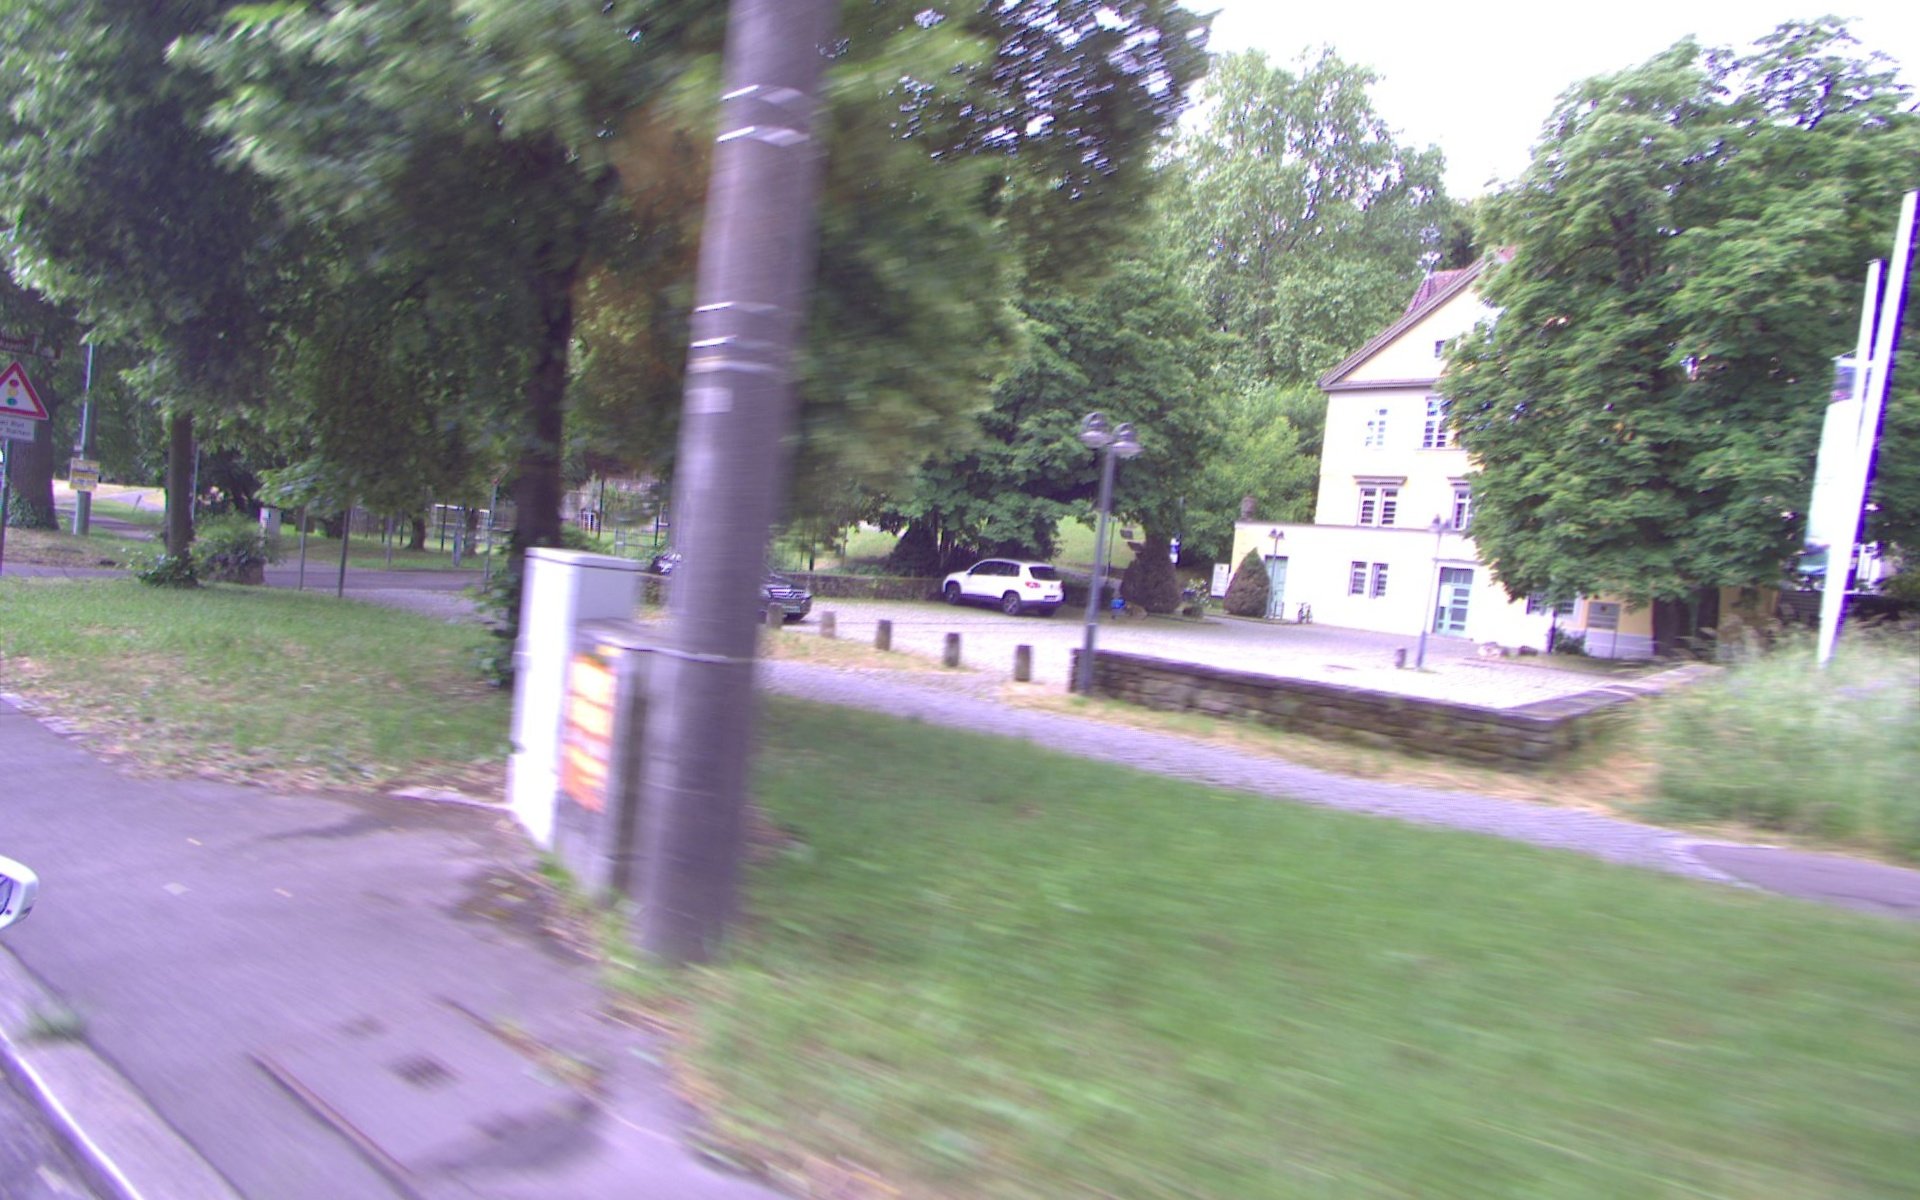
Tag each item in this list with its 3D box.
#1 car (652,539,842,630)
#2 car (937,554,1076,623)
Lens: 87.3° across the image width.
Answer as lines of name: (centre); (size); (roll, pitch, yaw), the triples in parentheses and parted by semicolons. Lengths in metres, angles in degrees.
car: (-4.825, -0.378, 22.394); (4.405, 1.451, 1.900); (10, 5, 43)
car: (1.409, -0.409, 31.554); (3.945, 1.675, 1.985); (10, 7, 43)
